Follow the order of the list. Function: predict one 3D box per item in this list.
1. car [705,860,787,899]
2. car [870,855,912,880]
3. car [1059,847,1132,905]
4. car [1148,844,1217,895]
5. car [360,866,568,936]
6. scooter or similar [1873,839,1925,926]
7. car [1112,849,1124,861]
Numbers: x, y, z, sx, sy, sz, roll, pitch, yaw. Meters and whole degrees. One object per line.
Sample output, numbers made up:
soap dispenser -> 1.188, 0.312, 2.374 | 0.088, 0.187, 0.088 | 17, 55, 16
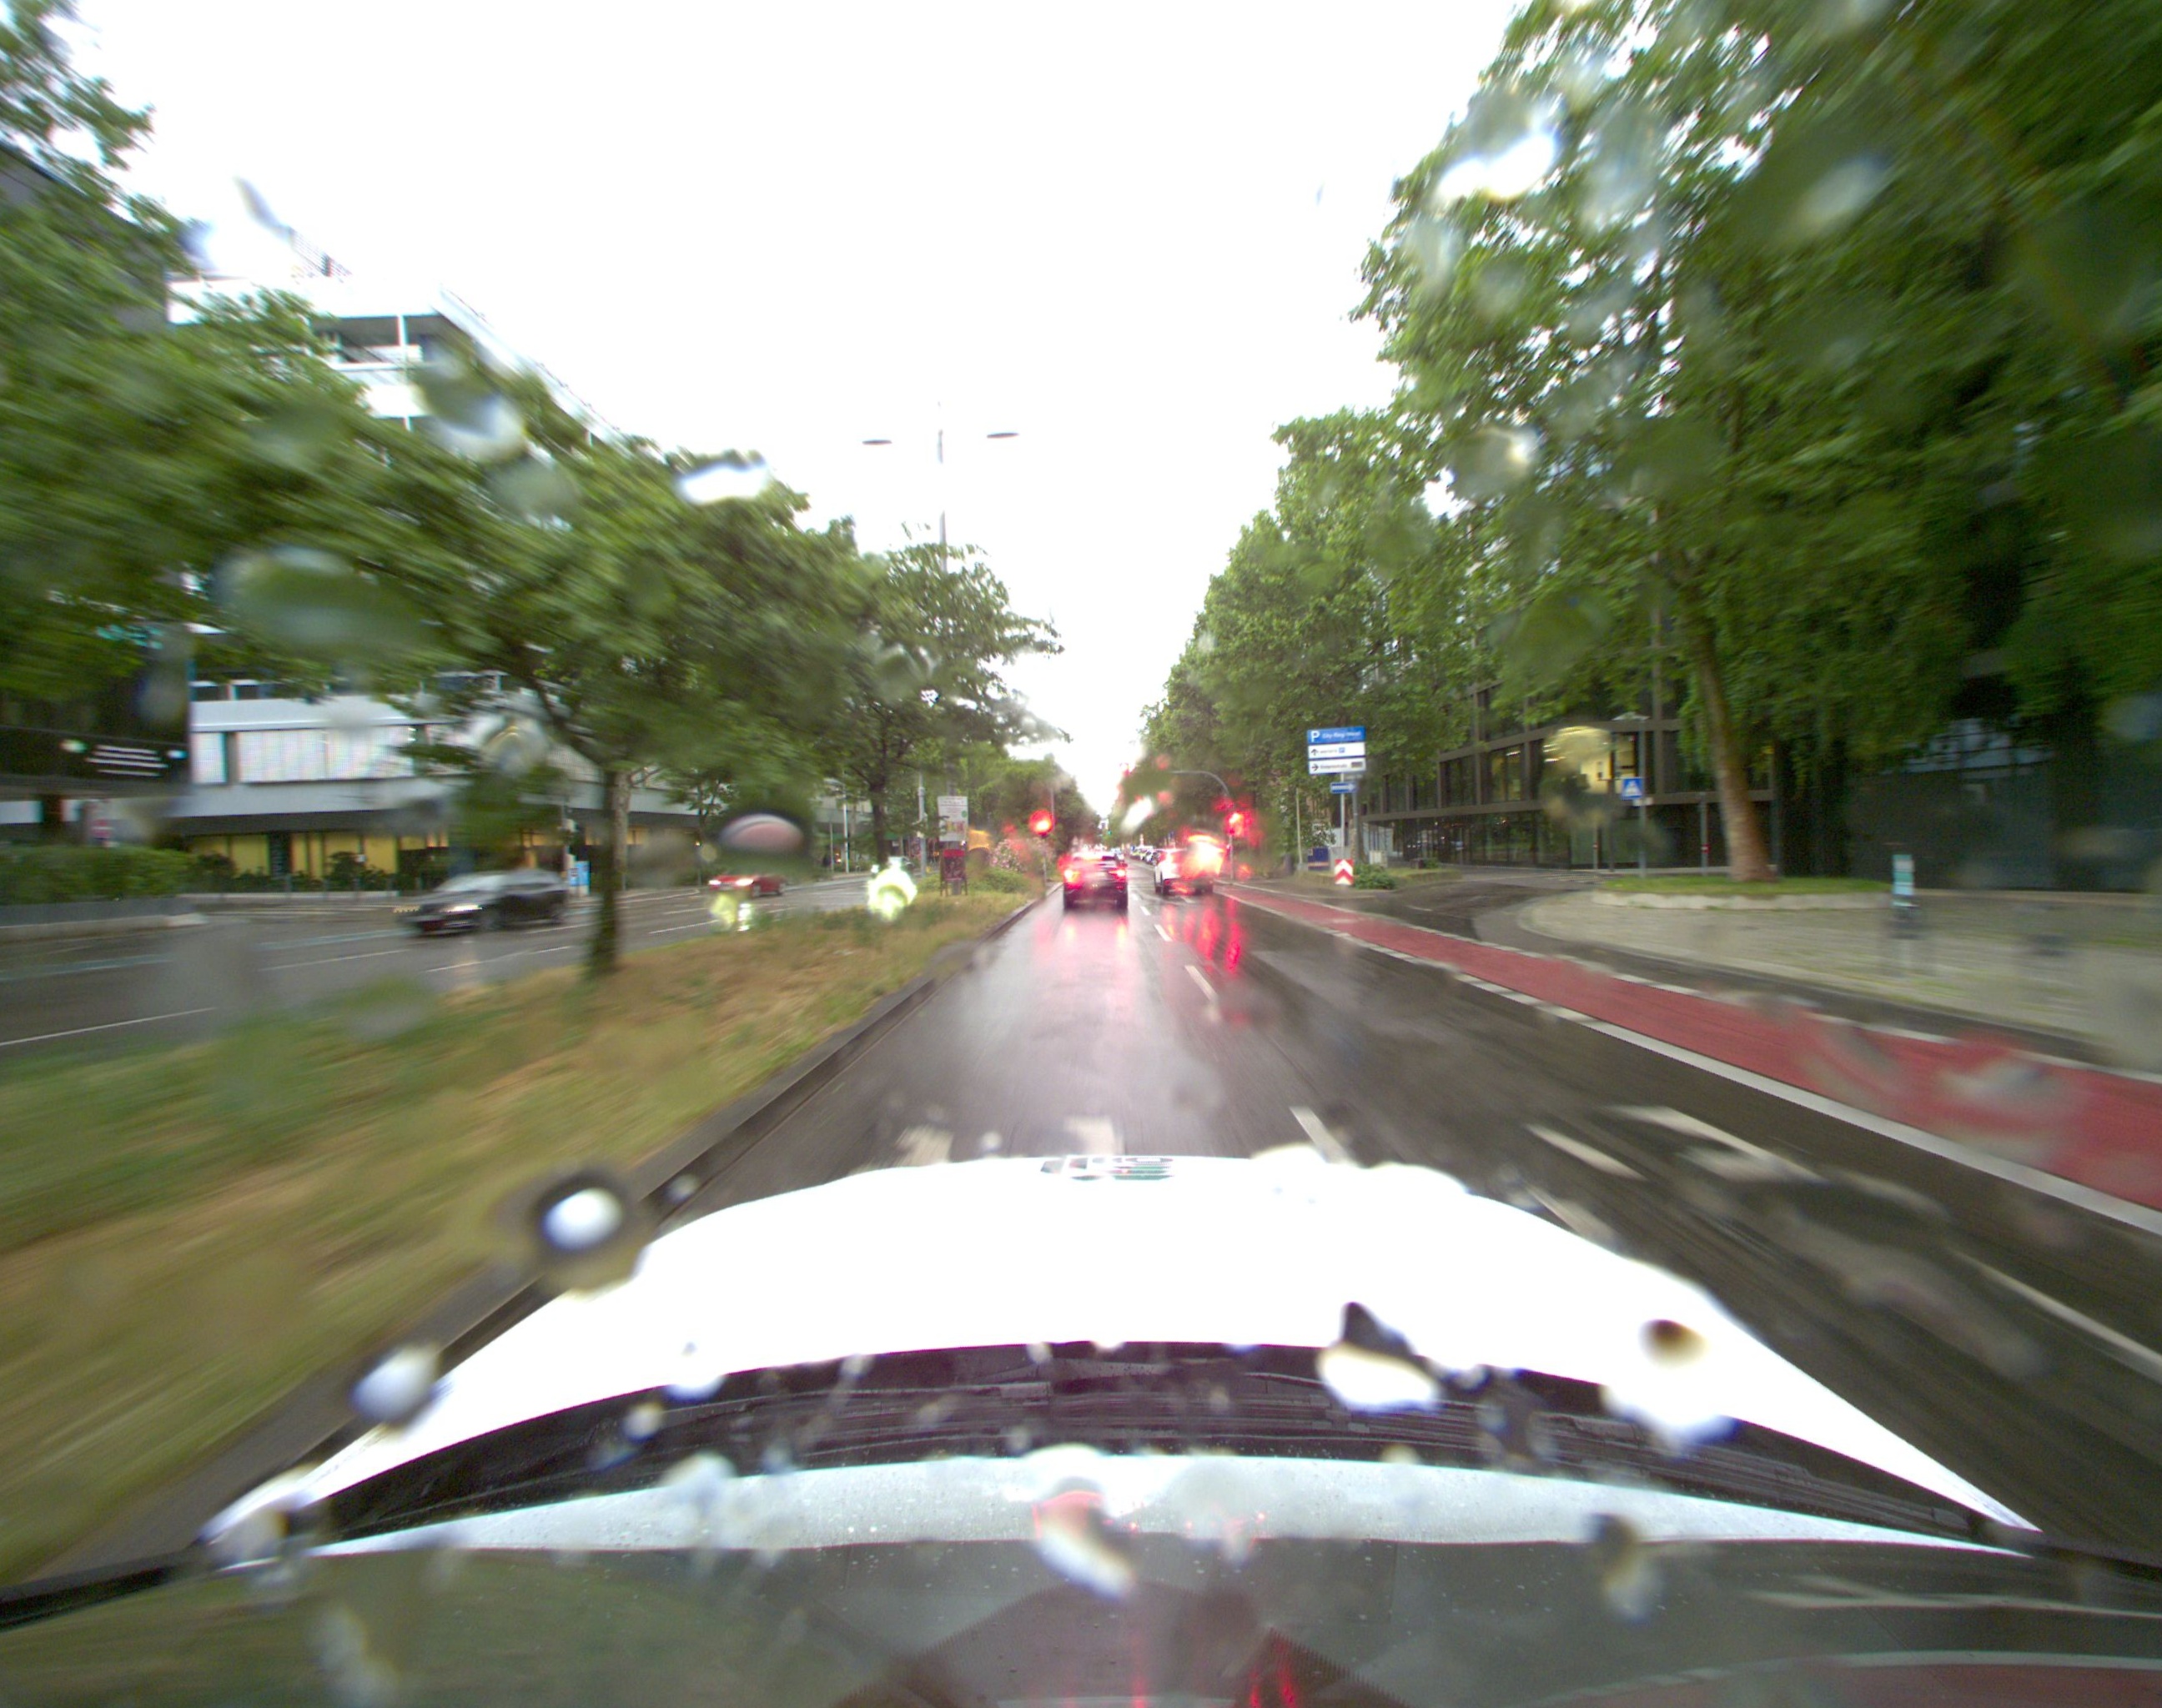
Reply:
car -> -14.006, 1.026, 34.272 | 1.609, 1.394, 4.185 | -1, 1, 1
car -> -12.891, 0.862, 55.392 | 1.824, 1.552, 4.188 | -2, 0, 0
car -> 0.417, 0.565, 23.817 | 1.912, 1.491, 4.001 | -1, 1, 1
car -> 3.668, 0.492, 30.160 | 1.986, 1.655, 4.890 | -1, 1, 1
car -> -14.521, 1.039, 19.492 | 1.837, 1.389, 4.001 | -2, 0, 1
scooter or similar -> 12.173, 0.404, 12.135 | 0.377, 1.228, 1.086 | -1, 0, 37
car -> 5.380, 0.125, 119.753 | 1.615, 1.666, 4.001 | -2, 0, 1
